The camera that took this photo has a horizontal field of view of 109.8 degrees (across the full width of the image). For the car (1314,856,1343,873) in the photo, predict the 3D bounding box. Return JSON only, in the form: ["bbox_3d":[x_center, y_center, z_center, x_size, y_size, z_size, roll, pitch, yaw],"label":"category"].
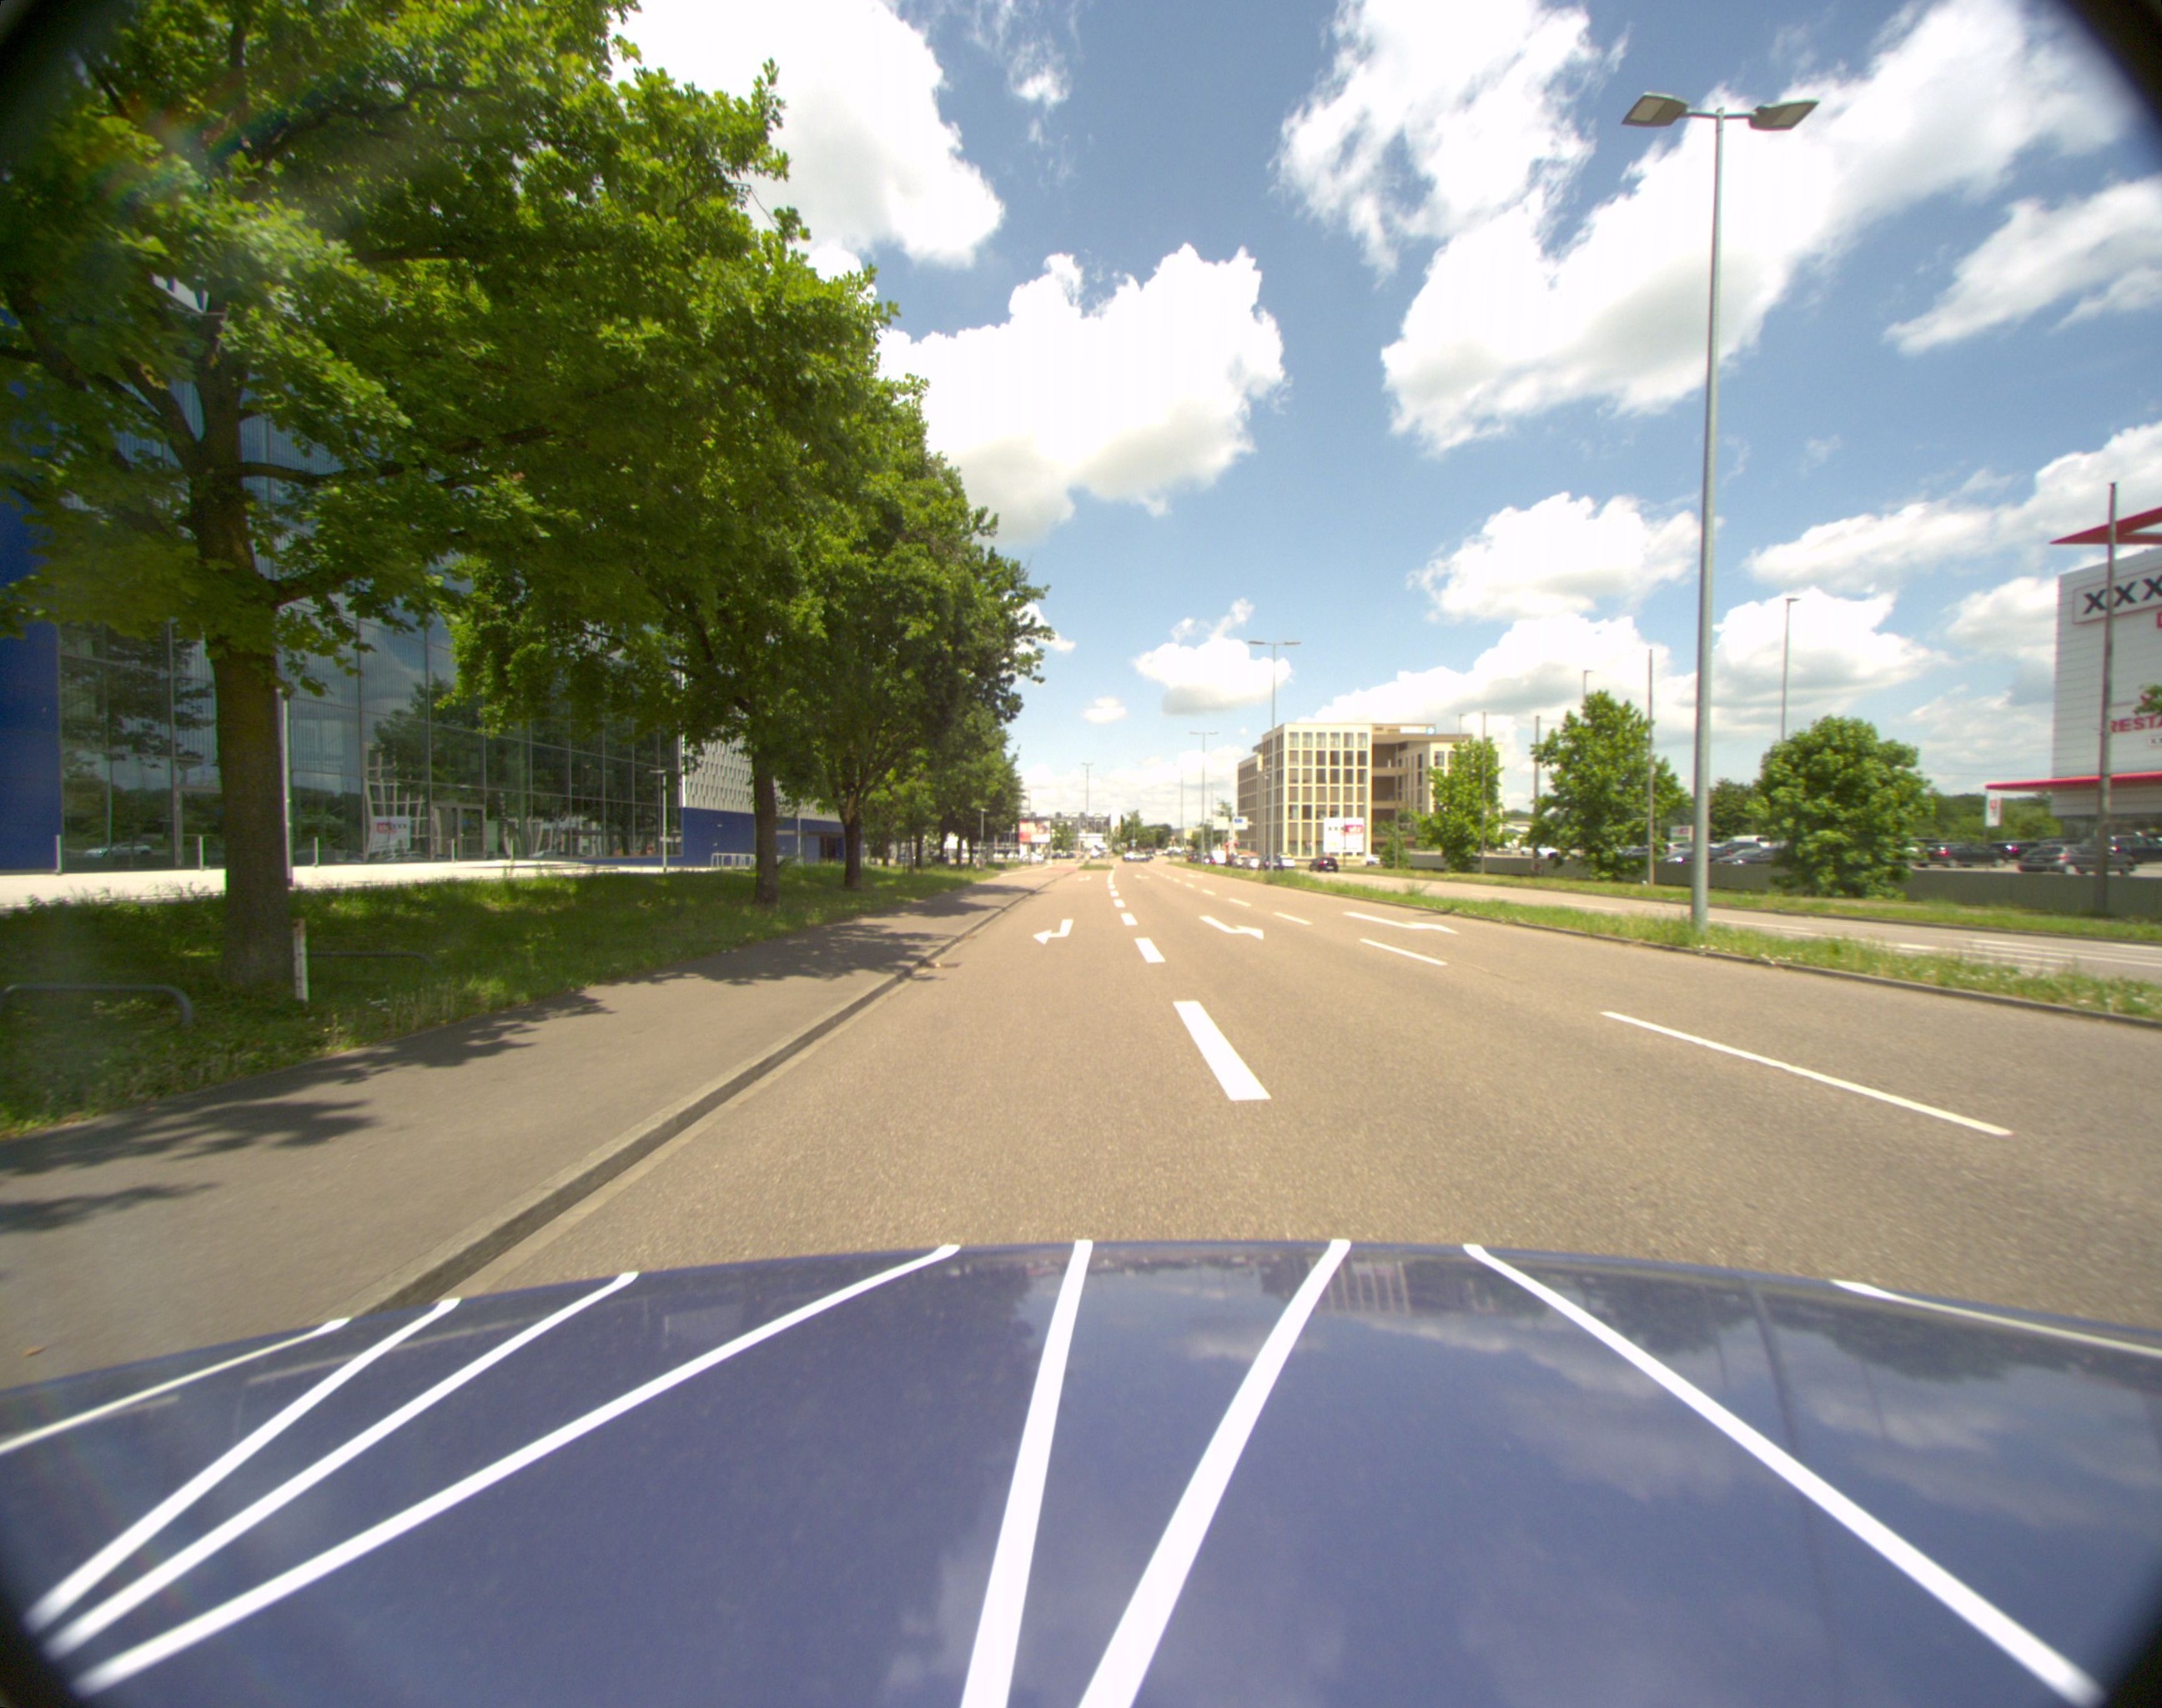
[{"bbox_3d":[22.173,0.952,68.247,1.622,1.461,4.118,1,0,5],"label":"car"}]

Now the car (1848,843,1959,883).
[{"bbox_3d":[48.387,0.503,44.780,4.360,2.315,2.000,0,1,0],"label":"car"}]

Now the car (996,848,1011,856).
[{"bbox_3d":[-14.238,-0.362,139.900,1.840,1.565,4.002,1,0,8],"label":"car"}]

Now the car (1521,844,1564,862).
[{"bbox_3d":[50.806,-0.109,83.814,1.855,1.822,4.674,1,0,0],"label":"car"}]

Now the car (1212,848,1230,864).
[{"bbox_3d":[18.429,0.221,100.231,1.861,2.031,3.577,1,0,4],"label":"car"}]

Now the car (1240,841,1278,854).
[{"bbox_3d":[32.899,-1.121,140.330,6.519,2.314,2.859,0,-2,24],"label":"car"}]

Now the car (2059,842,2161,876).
[{"bbox_3d":[61.474,0.295,45.044,4.360,1.978,2.000,0,1,0],"label":"car"}]

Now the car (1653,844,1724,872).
[{"bbox_3d":[51.975,0.334,65.051,4.358,2.315,2.000,0,1,3],"label":"car"}]

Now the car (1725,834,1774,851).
[{"bbox_3d":[73.300,-1.274,83.378,1.855,1.822,3.833,1,0,0],"label":"car"}]

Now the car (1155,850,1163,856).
[{"bbox_3d":[23.570,-0.372,230.497,2.289,1.708,4.483,1,1,4],"label":"car"}]

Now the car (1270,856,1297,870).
[{"bbox_3d":[22.364,1.003,83.987,1.624,1.464,4.357,1,0,-3],"label":"car"}]

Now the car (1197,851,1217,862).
[{"bbox_3d":[14.651,0.278,88.345,1.796,1.243,4.308,1,0,3],"label":"car"}]

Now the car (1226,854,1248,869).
[{"bbox_3d":[17.653,0.868,86.368,1.796,1.691,4.228,1,0,3],"label":"car"}]

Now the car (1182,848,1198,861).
[{"bbox_3d":[14.353,0.109,100.385,1.795,1.635,4.172,1,0,4],"label":"car"}]

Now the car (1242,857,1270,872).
[{"bbox_3d":[16.750,0.976,72.981,1.796,1.409,4.675,0,0,2],"label":"car"}]

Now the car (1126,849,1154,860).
[{"bbox_3d":[8.783,0.080,113.512,3.998,1.681,1.858,1,0,-2],"label":"car"}]

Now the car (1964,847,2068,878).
[{"bbox_3d":[61.763,0.543,50.242,4.360,1.978,2.000,0,1,0],"label":"car"}]

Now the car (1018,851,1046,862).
[{"bbox_3d":[-7.366,0.372,114.462,3.998,1.681,1.858,1,0,-2],"label":"car"}]

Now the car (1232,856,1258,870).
[{"bbox_3d":[17.109,0.930,79.563,1.796,1.393,4.846,1,0,2],"label":"car"}]

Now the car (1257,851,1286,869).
[{"bbox_3d":[16.061,0.491,64.261,1.743,1.466,3.677,1,1,4],"label":"car"}]

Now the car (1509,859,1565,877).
[{"bbox_3d":[42.220,1.256,70.398,3.996,1.586,1.919,1,0,3],"label":"car"}]

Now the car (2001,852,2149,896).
[{"bbox_3d":[46.554,0.915,35.651,4.360,1.977,2.000,0,-1,0],"label":"car"}]
